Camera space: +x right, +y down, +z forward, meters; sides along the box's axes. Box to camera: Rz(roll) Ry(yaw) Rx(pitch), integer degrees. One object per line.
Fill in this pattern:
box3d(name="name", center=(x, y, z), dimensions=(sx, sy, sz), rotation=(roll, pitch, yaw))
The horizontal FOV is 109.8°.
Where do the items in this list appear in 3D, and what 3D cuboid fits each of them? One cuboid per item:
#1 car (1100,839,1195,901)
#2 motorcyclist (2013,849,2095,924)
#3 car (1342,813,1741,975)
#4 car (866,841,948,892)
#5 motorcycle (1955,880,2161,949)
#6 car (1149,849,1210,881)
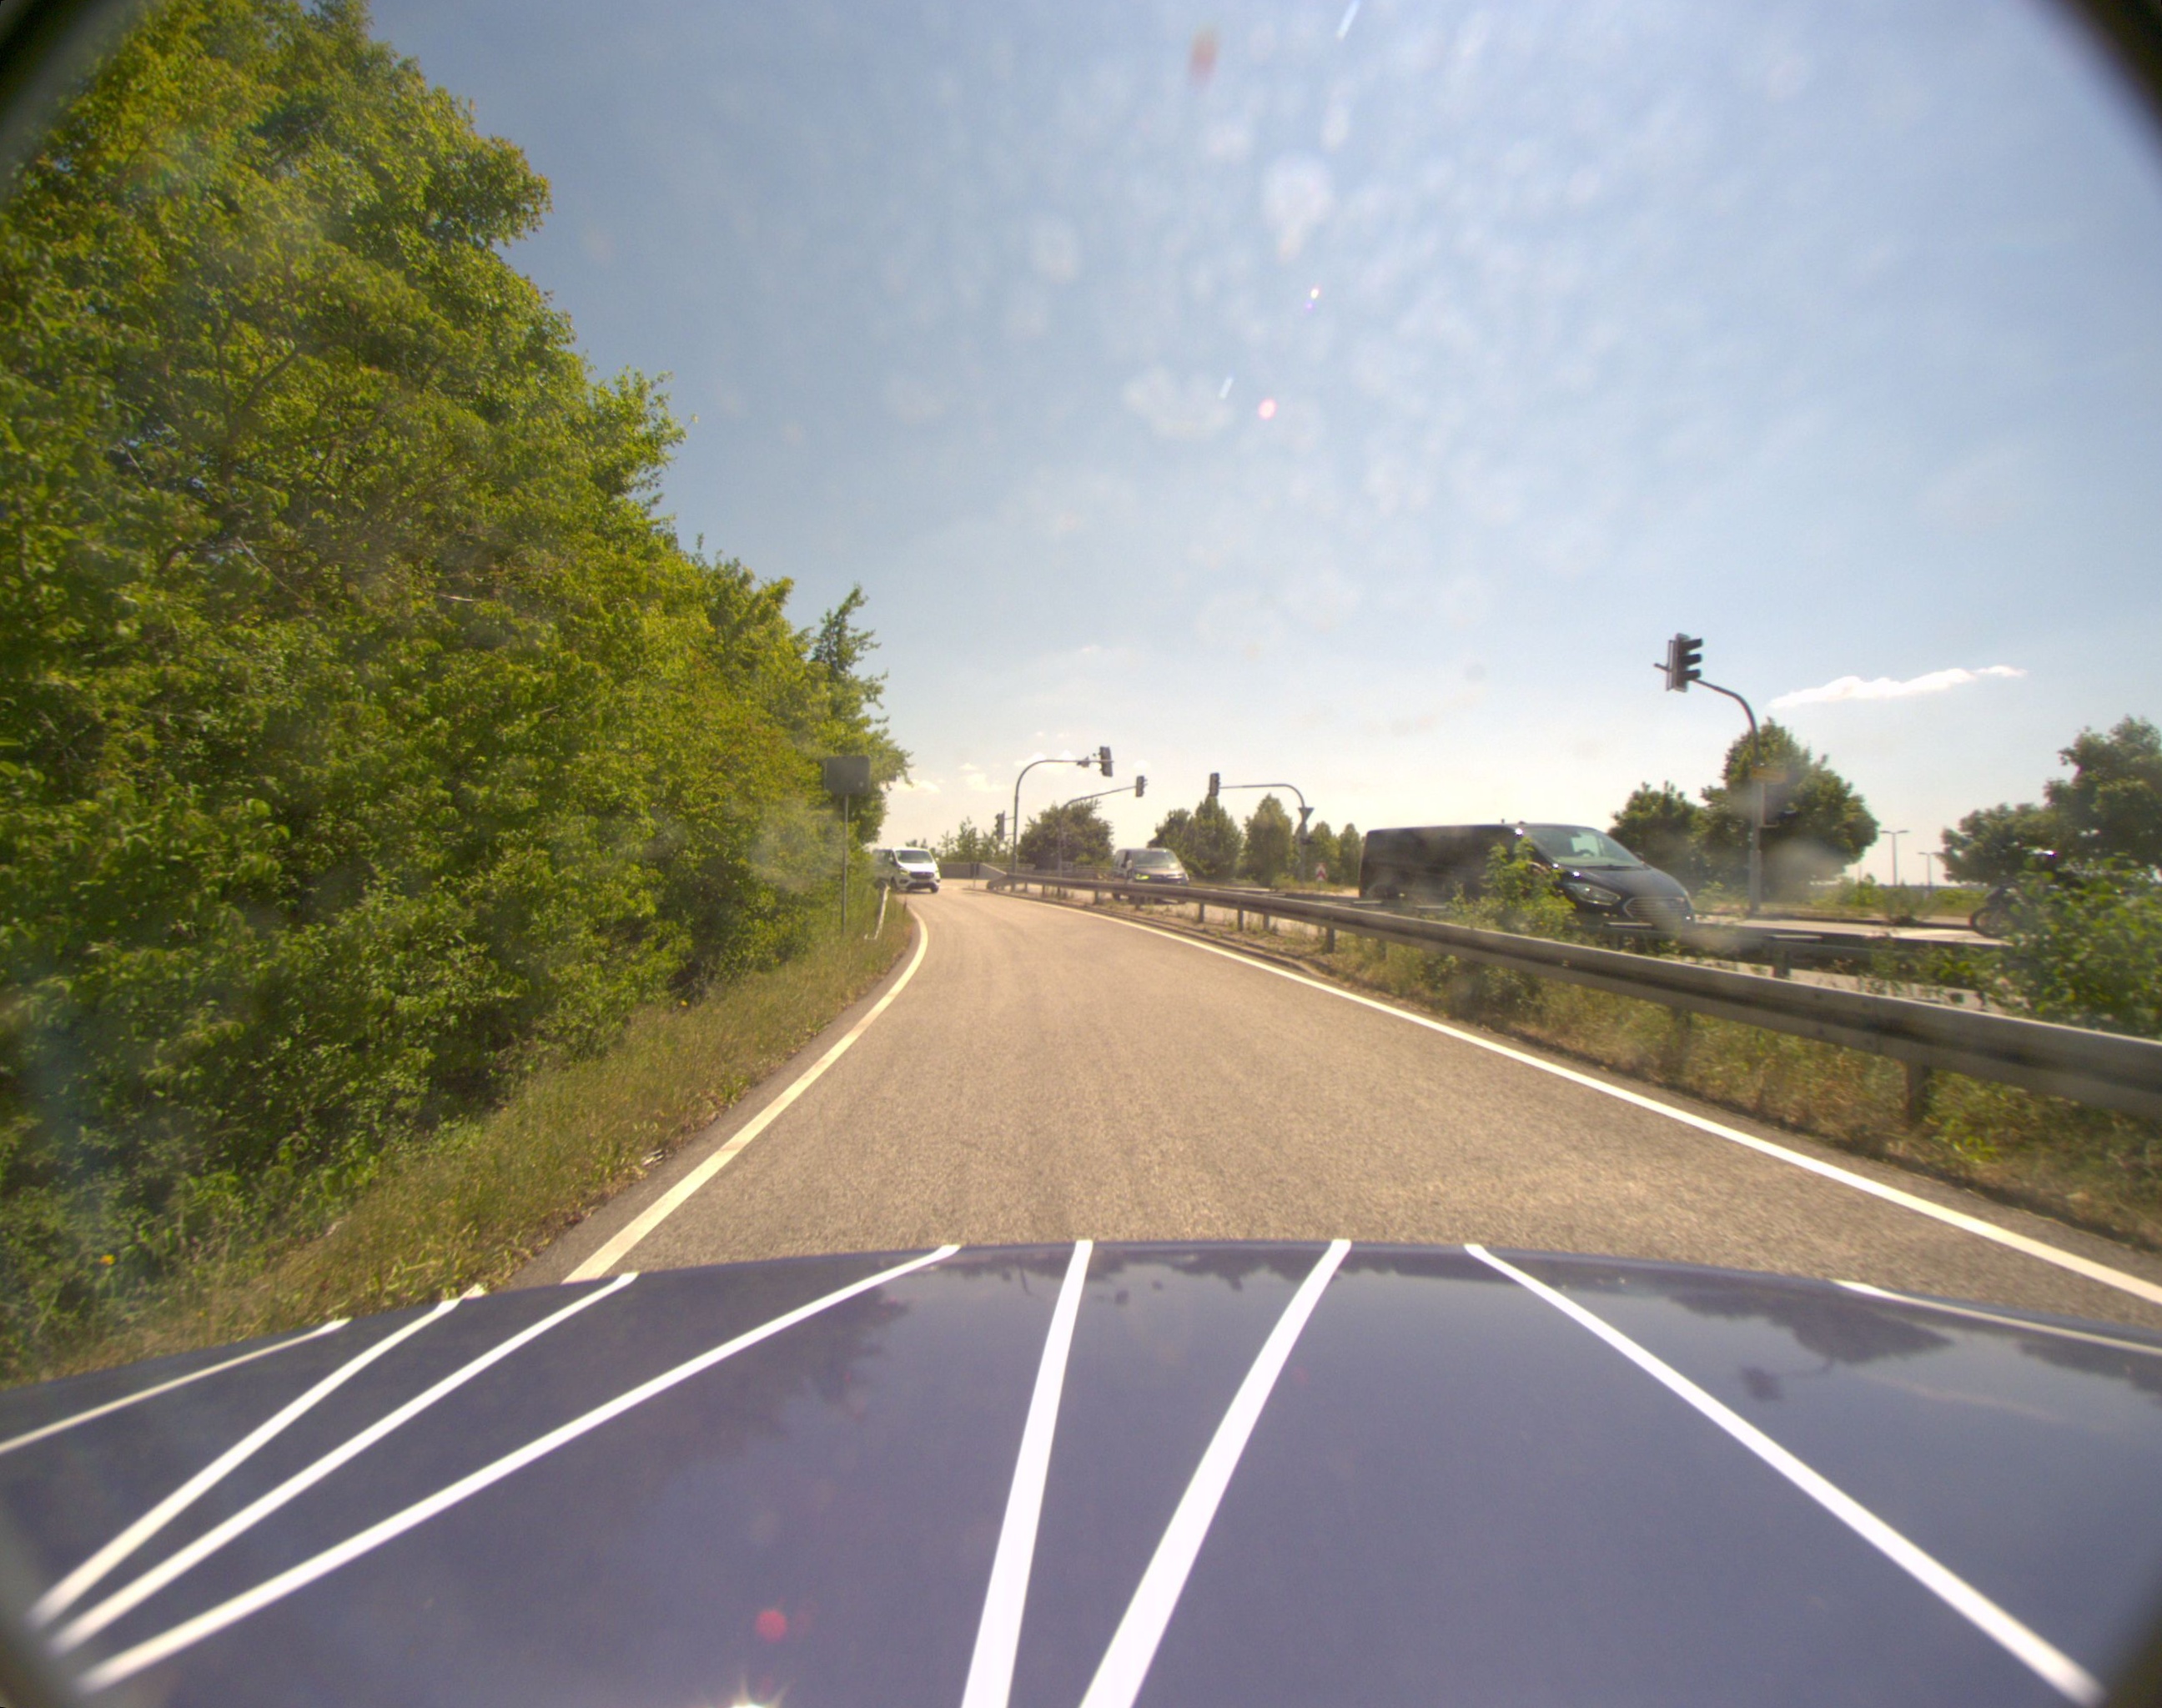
box3d(name="car", center=(2.209, 0.528, 26.679), dimensions=(1.946, 1.907, 4.527), rotation=(3, 0, -13))
box3d(name="motorcyclist", center=(17.523, 0.577, 13.689), dimensions=(0.677, 1.295, 0.722), rotation=(3, -1, -22))
box3d(name="car", center=(6.620, 0.463, 11.948), dimensions=(2.127, 1.926, 5.403), rotation=(0, 0, -14))
box3d(name="car", center=(-7.976, 0.673, 34.390), dimensions=(2.035, 2.071, 5.861), rotation=(1, -3, -29))
box3d(name="motorcycle", center=(17.514, 1.047, 13.659), dimensions=(0.565, 1.074, 2.280), rotation=(2, -1, -22))
box3d(name="car", center=(5.683, 0.655, 43.409), dimensions=(1.681, 1.514, 4.011), rotation=(2, -3, 35))
